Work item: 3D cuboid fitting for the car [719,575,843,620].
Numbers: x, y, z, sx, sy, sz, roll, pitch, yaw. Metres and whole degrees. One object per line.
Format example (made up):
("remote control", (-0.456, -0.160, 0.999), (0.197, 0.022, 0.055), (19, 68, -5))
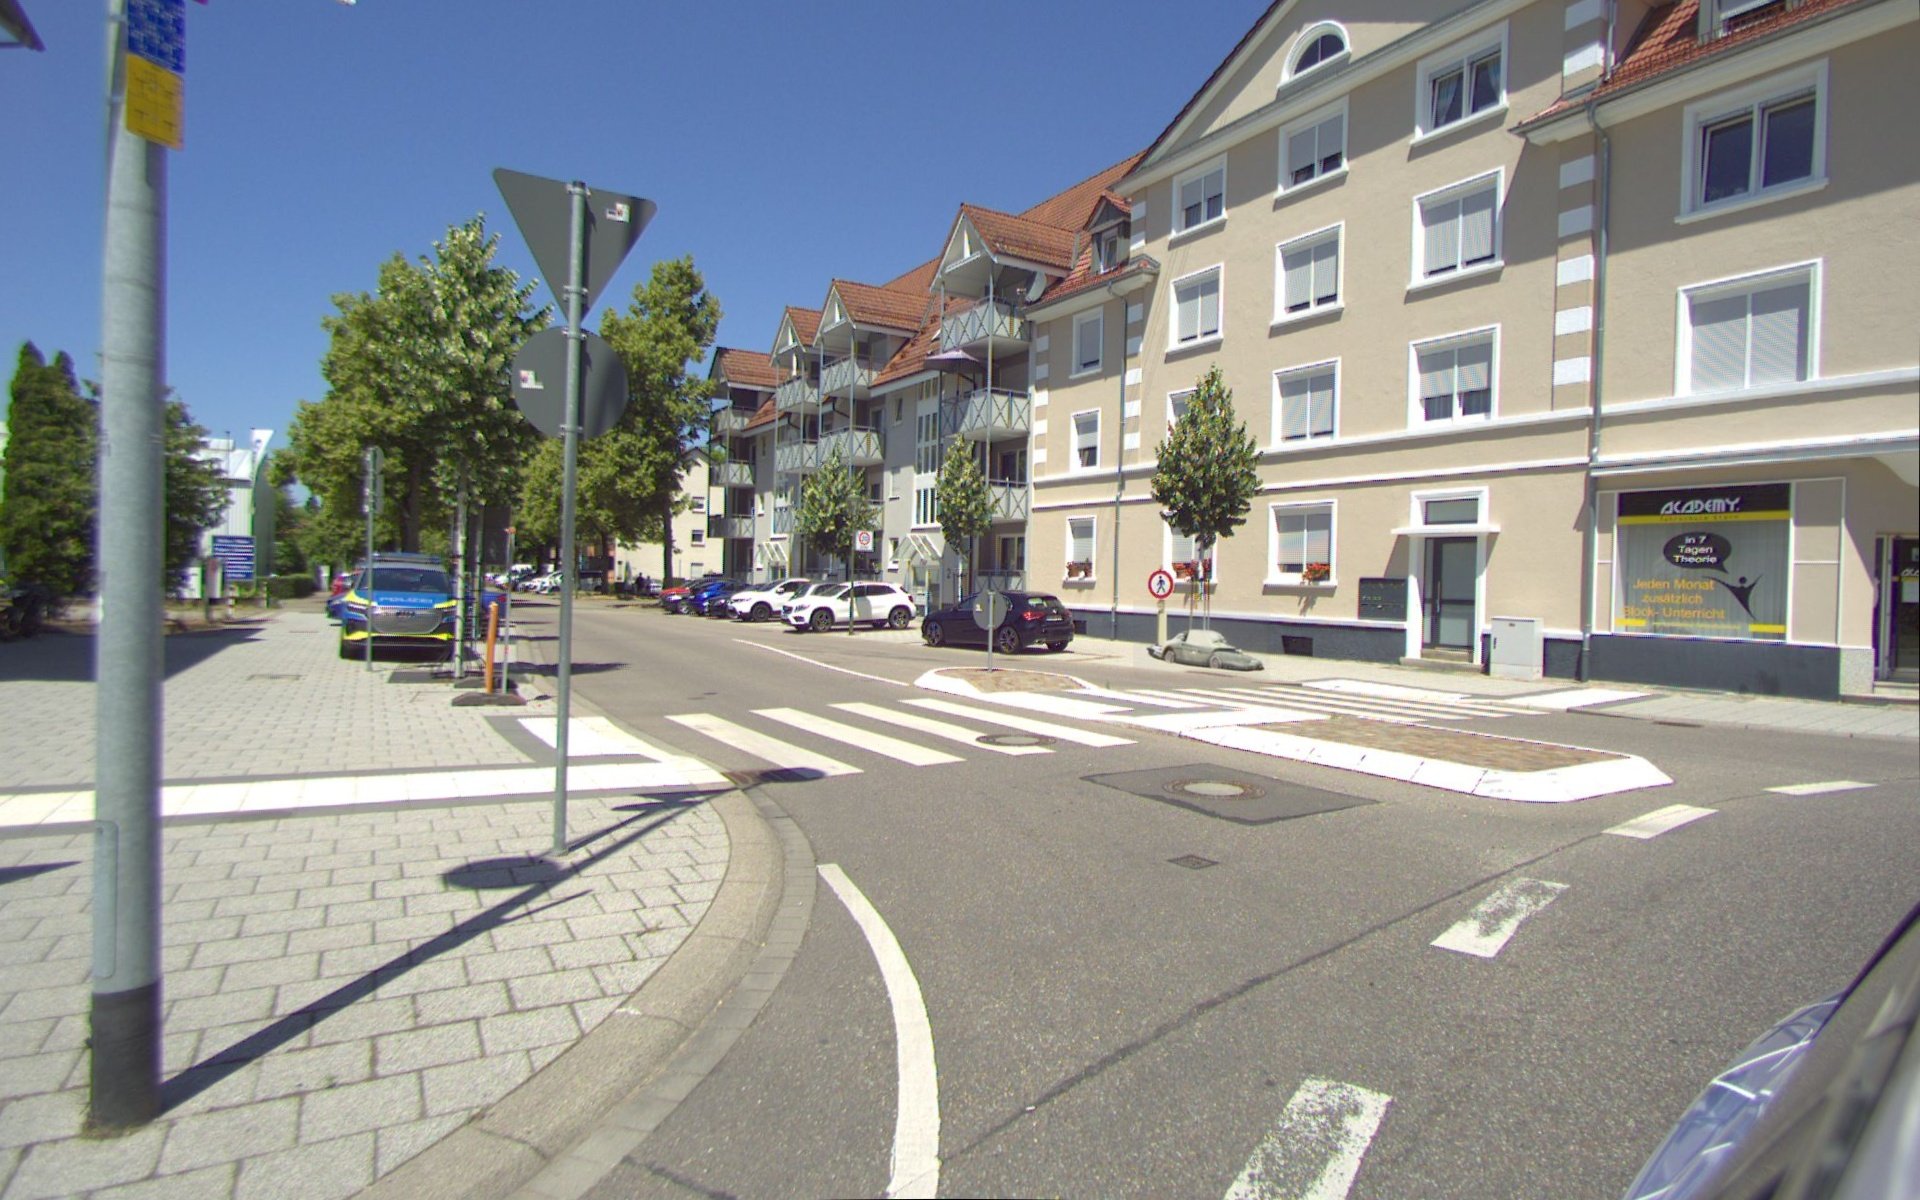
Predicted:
("car", (-6.723, -0.149, 38.119), (4.210, 1.595, 1.908), (-1, 2, -30))

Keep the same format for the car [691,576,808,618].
("car", (-8.383, -0.155, 40.388), (4.210, 1.595, 1.908), (-1, 2, -30))

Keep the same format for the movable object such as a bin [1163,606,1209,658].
("movable object such as a bin", (4.835, 0.674, 21.655), (0.630, 1.068, 0.704), (0, 1, -34))

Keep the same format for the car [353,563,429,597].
("car", (-34.384, -1.211, 61.188), (3.920, 1.882, 2.003), (1, 3, -30))

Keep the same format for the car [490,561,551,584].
("car", (-42.347, -2.619, 97.544), (5.171, 2.039, 2.238), (1, 1, -33))

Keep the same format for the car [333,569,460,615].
("car", (-20.470, -0.279, 36.846), (3.920, 1.549, 2.002), (1, 0, -30))

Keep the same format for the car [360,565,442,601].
("car", (-31.054, -0.919, 56.246), (3.920, 1.883, 2.002), (1, -1, -30))

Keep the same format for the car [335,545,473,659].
("car", (-9.879, 0.018, 18.015), (1.868, 1.765, 4.255), (2, 0, -29))

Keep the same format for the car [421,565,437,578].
("car", (-85.747, -4.597, 163.523), (1.961, 2.039, 4.002), (1, 1, -33))

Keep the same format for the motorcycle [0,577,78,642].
("motorcycle", (-16.218, 0.153, 17.782), (0.575, 1.065, 1.909), (3, -1, -26))

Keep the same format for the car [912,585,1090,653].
("car", (0.924, 0.385, 24.501), (4.159, 1.454, 1.876), (2, 2, 44))

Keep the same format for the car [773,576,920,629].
("car", (-3.581, 0.039, 32.029), (4.210, 1.542, 1.908), (-1, 2, -30))

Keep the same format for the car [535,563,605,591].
("car", (-29.757, -1.760, 77.310), (4.650, 2.039, 2.001), (1, 1, -33))

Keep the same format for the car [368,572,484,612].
("car", (-20.830, -0.309, 39.515), (3.920, 1.465, 2.002), (1, 0, -30))

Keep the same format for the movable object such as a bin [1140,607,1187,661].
("movable object such as a bin", (4.248, 0.700, 21.142), (0.658, 1.068, 0.704), (-1, 2, -34))

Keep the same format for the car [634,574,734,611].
("car", (-12.944, -0.382, 47.469), (4.210, 1.662, 1.908), (-1, 2, -30))

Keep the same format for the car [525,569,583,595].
("car", (-32.605, -1.443, 81.228), (3.924, 2.039, 2.000), (1, 0, -36))

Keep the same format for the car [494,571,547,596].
("car", (-37.978, -1.416, 87.469), (3.924, 2.039, 2.000), (1, 0, -36))

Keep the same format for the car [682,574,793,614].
("car", (-9.344, -0.287, 42.602), (4.210, 1.595, 1.908), (-1, 2, -30))

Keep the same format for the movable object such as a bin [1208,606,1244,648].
("movable object such as a bin", (6.294, 0.633, 23.957), (0.645, 0.947, 0.579), (-1, 2, -41))

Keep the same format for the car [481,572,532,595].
("car", (-40.965, -1.491, 91.448), (3.924, 2.039, 2.000), (1, 0, -36))

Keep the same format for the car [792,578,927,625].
("car", (-3.424, 0.006, 34.572), (4.210, 1.454, 1.908), (-1, 2, -30))

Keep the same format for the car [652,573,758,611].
("car", (-11.344, -0.394, 45.100), (4.210, 1.595, 1.908), (-1, 2, -30))

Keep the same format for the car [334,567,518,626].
("car", (-14.929, -0.050, 28.357), (4.382, 1.499, 1.906), (1, -2, -33))
